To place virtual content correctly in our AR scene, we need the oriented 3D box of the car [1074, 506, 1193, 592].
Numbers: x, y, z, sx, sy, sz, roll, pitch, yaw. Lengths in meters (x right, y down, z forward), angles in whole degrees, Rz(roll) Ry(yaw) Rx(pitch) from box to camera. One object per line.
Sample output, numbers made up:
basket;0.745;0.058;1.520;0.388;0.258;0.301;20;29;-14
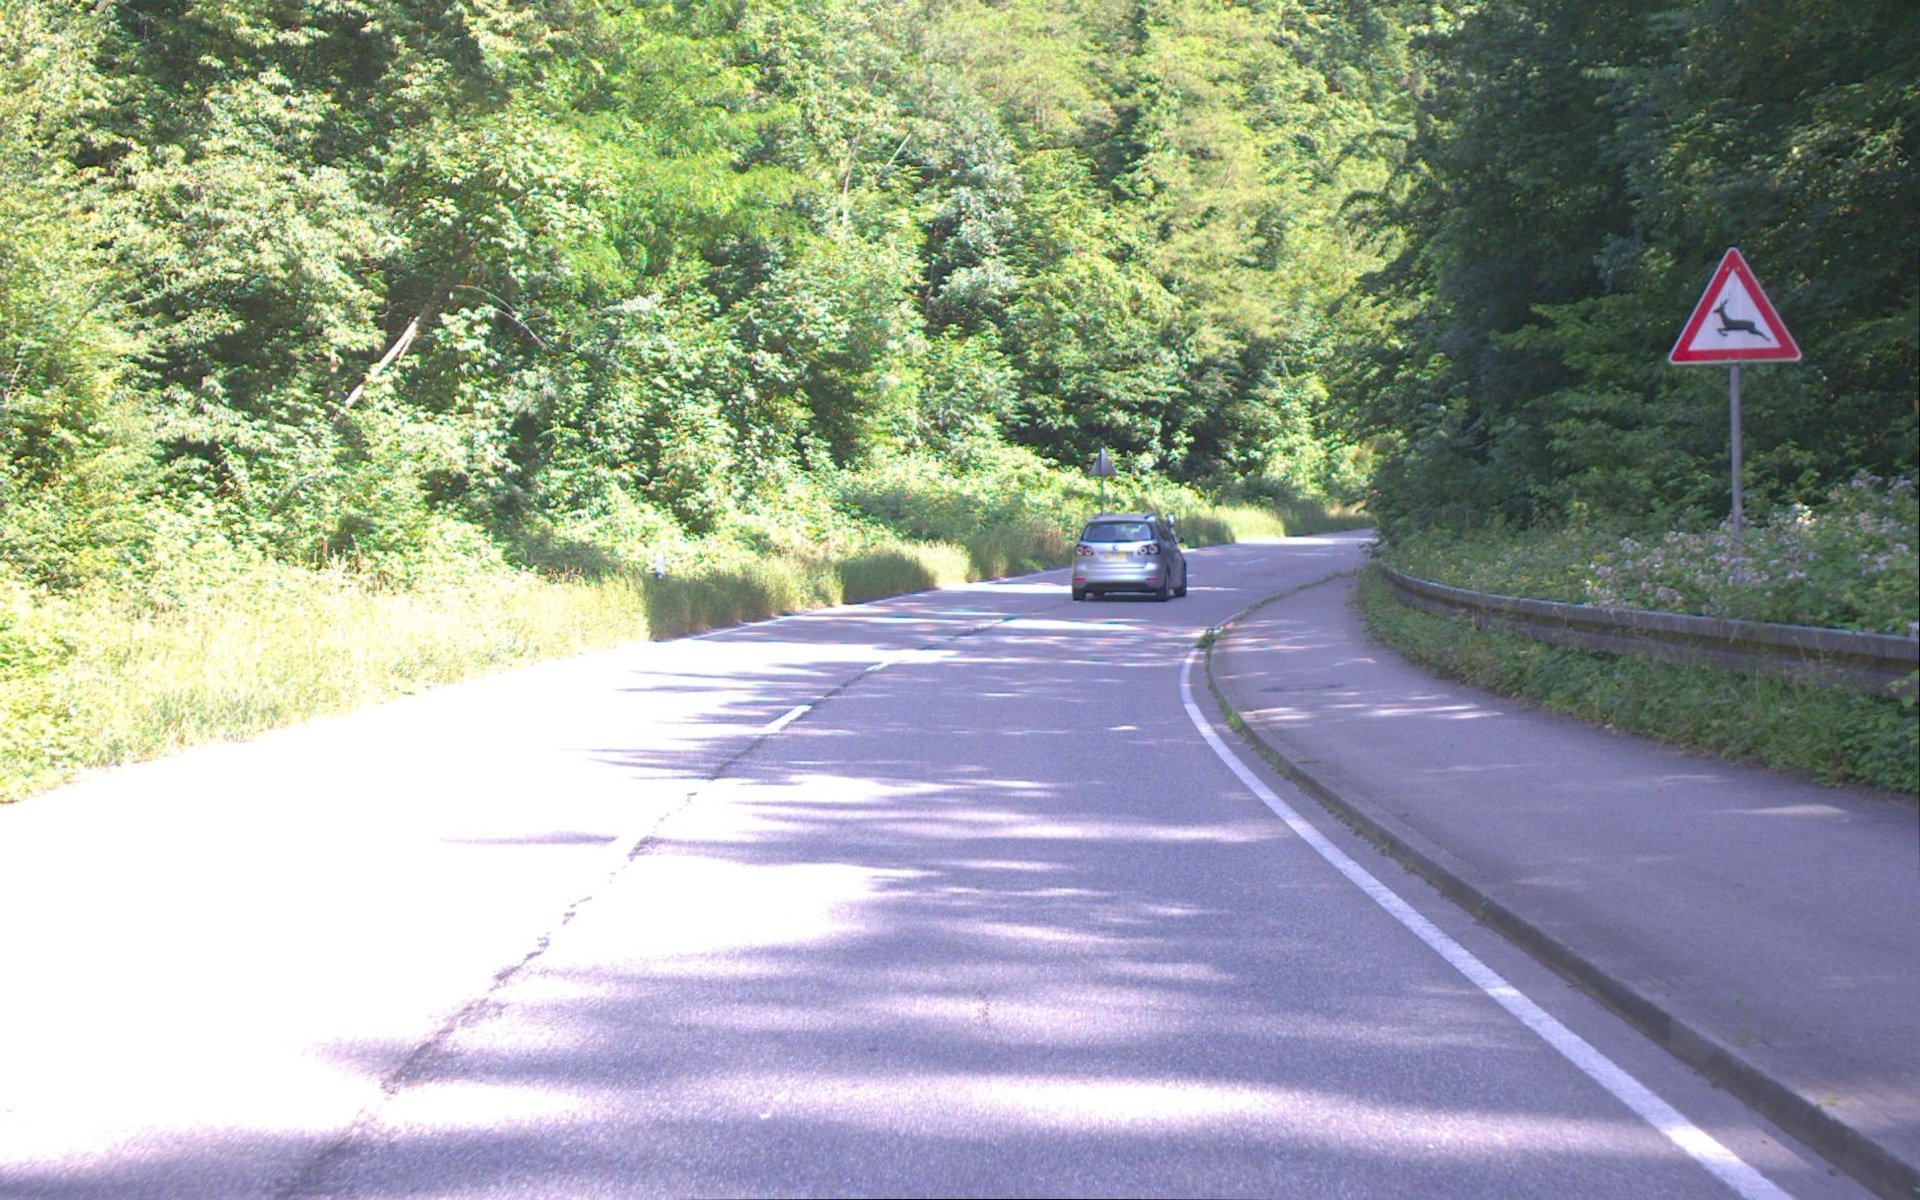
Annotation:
car;3.219;-0.961;63.155;1.752;1.514;4.158;1;1;9
